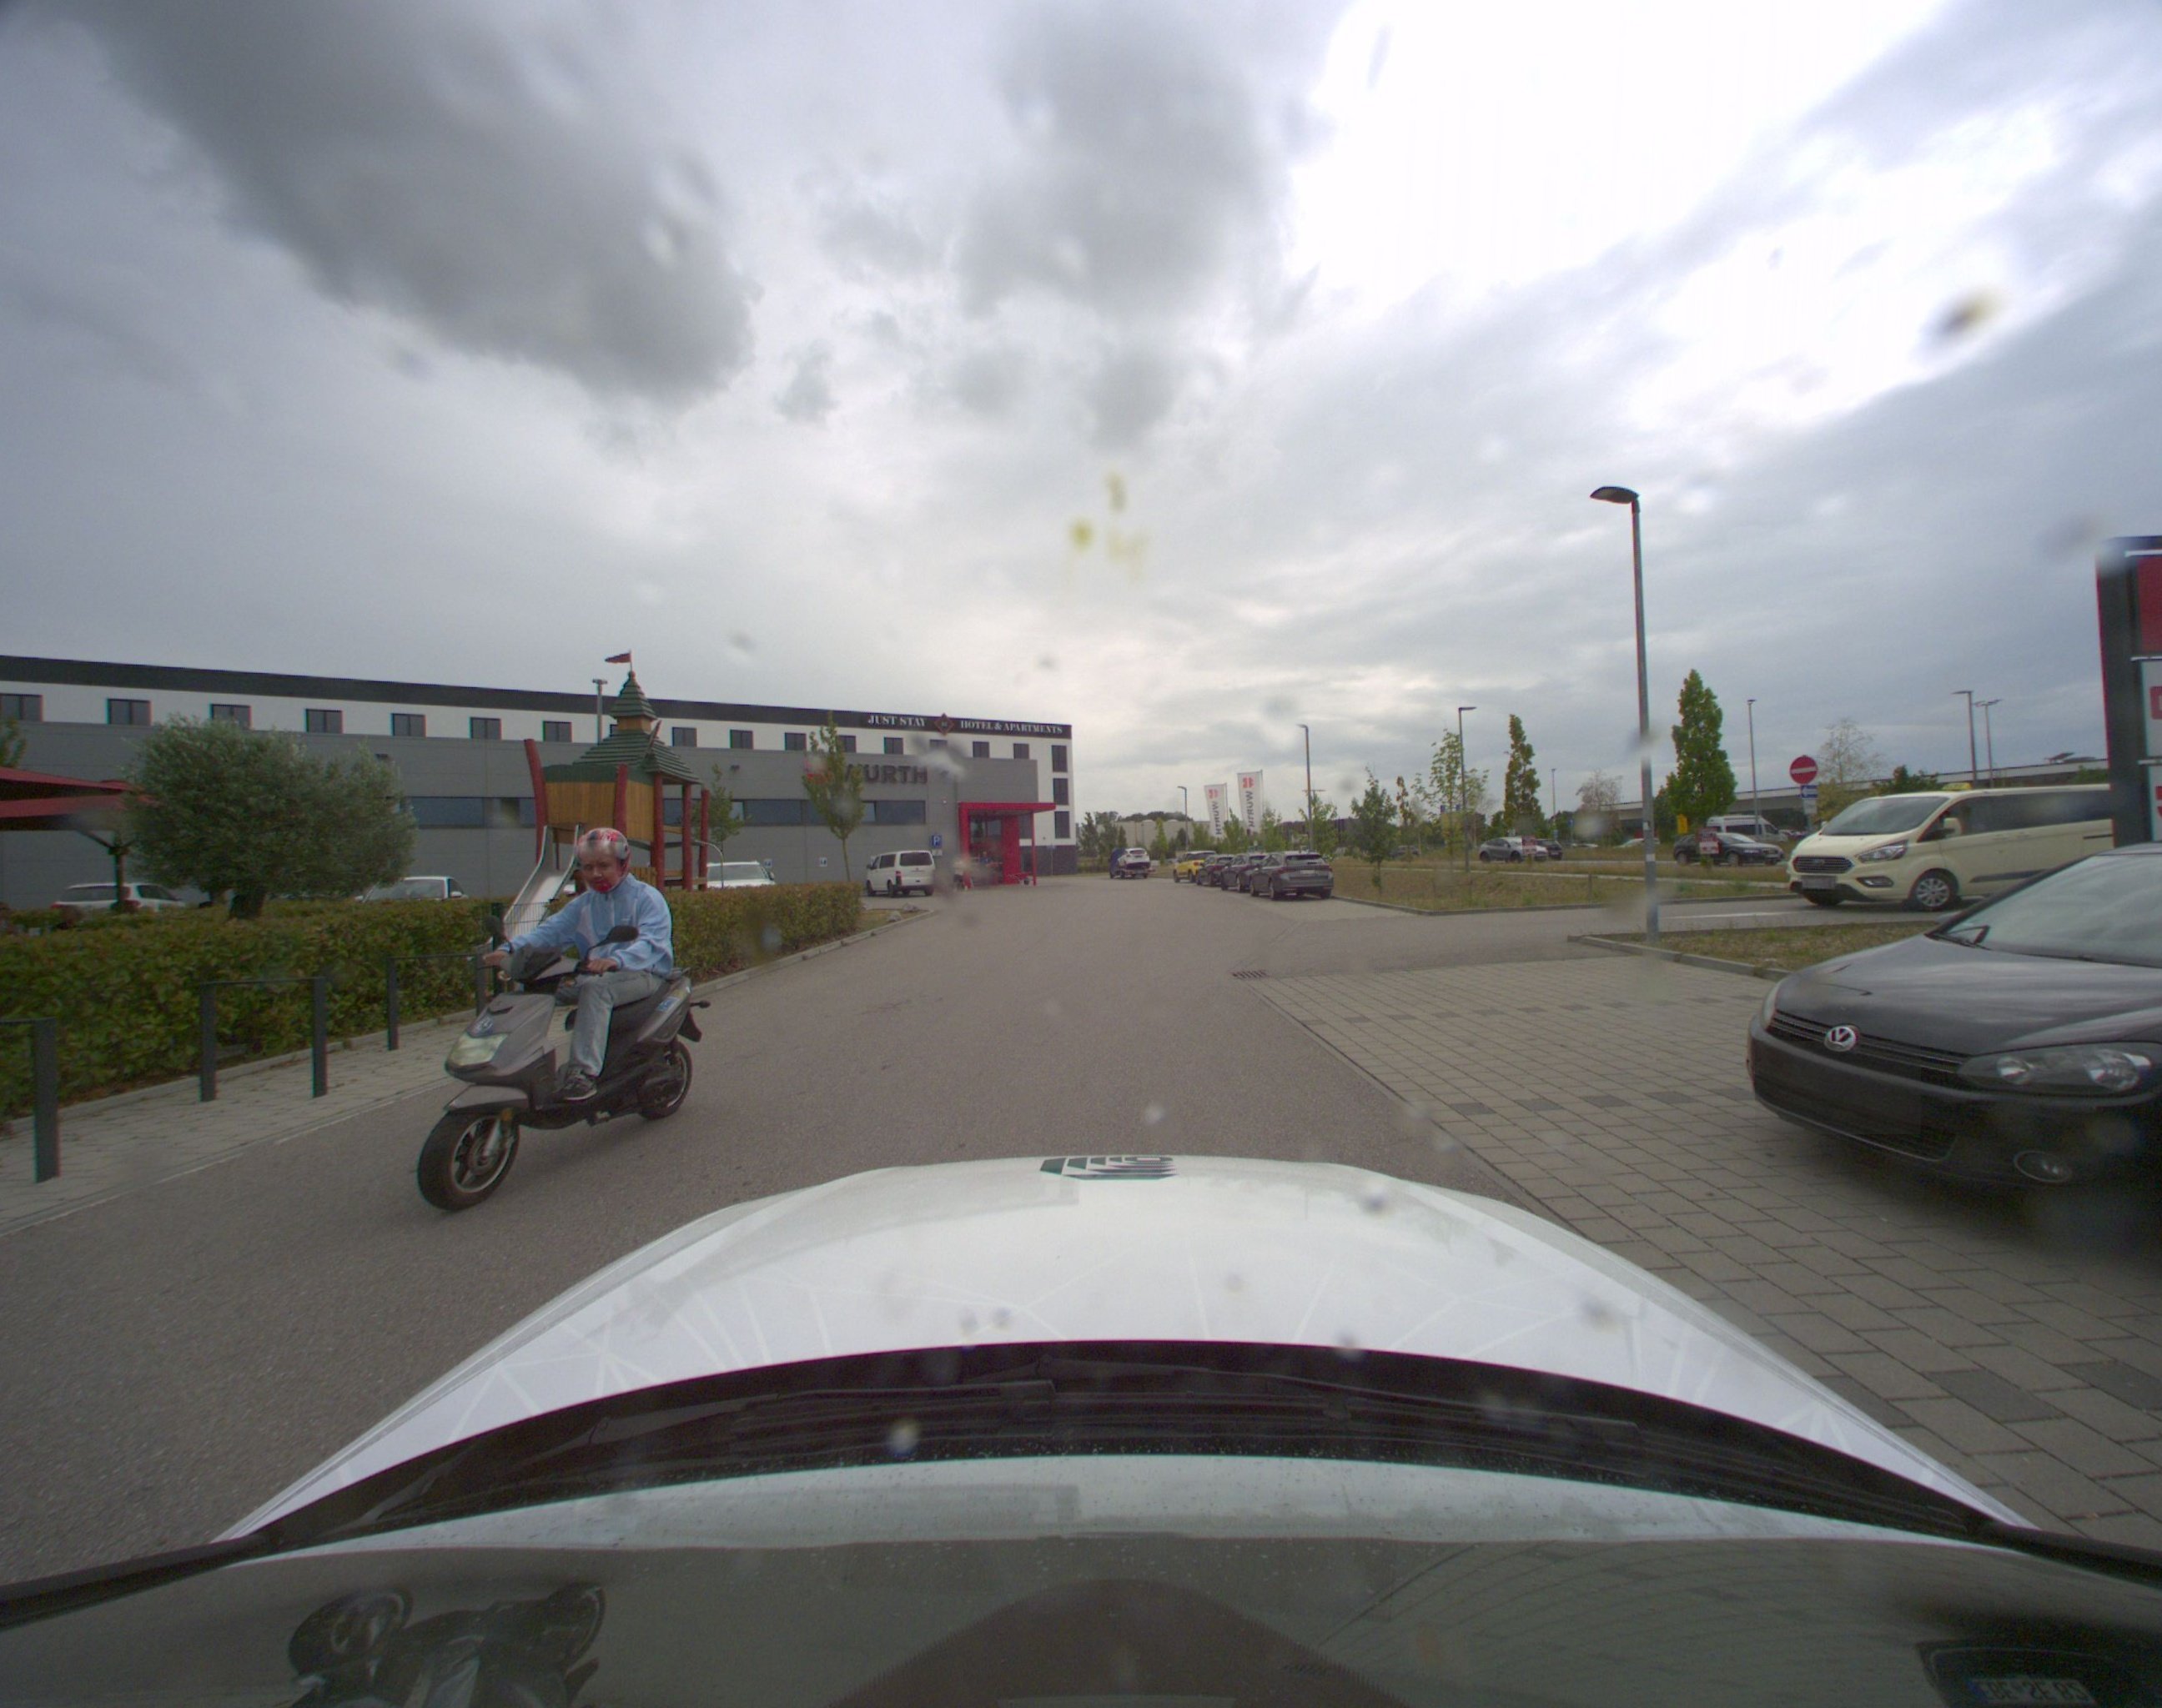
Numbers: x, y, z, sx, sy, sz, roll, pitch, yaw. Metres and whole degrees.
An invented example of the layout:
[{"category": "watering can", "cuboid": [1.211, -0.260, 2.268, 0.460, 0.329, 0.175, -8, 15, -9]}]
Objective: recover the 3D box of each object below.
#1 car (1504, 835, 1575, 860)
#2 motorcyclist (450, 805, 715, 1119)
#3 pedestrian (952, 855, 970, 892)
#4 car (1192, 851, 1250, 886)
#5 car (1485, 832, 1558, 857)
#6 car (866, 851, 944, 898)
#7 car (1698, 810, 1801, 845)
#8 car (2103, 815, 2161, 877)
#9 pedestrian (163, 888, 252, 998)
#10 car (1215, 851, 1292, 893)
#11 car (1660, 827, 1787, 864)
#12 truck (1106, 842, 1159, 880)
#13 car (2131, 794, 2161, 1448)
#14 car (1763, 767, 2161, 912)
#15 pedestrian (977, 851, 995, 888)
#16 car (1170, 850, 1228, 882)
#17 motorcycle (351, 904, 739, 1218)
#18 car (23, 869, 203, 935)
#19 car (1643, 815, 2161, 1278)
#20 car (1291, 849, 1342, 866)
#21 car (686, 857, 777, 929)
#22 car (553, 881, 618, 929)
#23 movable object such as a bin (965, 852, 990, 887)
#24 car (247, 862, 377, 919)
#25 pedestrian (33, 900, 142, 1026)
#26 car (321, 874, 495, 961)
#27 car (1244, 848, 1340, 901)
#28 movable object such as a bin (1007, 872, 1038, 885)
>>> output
[{"category": "car", "cuboid": [30.693, -0.381, 54.726, 1.921, 1.486, 4.412, -4, 0, -6]}, {"category": "motorcyclist", "cuboid": [-2.618, 0.525, 4.398, 0.825, 1.489, 0.941, -1, -1, 0]}, {"category": "pedestrian", "cuboid": [-5.777, 0.923, 39.262, 0.620, 1.751, 0.907, -2, -1, 6]}, {"category": "car", "cuboid": [6.423, 0.657, 37.746, 1.748, 1.469, 4.102, -2, 0, -3]}, {"category": "car", "cuboid": [26.955, -0.527, 50.046, 1.759, 1.395, 4.551, -2, 0, -4]}, {"category": "car", "cuboid": [-7.849, 0.916, 36.045, 2.069, 1.855, 4.020, -4, 0, -32]}, {"category": "car", "cuboid": [48.709, -1.874, 59.423, 5.560, 2.122, 2.340, -4, 0, 0]}, {"category": "car", "cuboid": [27.160, -0.232, 18.913, 1.817, 1.459, 4.001, -4, 0, 1]}, {"category": "pedestrian", "cuboid": [-14.780, 1.471, 13.803, 0.744, 1.748, 0.698, -3, -1, -24]}, {"category": "car", "cuboid": [6.551, 0.669, 31.393, 1.748, 1.469, 4.470, -2, 0, -4]}, {"category": "car", "cuboid": [26.627, -0.307, 33.952, 1.759, 1.395, 4.212, -2, 0, -4]}, {"category": "truck", "cuboid": [3.685, 0.620, 60.636, 2.330, 2.407, 7.871, -1, -3, -8]}, {"category": "car", "cuboid": [4.612, 0.564, 1.011, 4.188, 1.544, 1.864, -2, 0, 0]}, {"category": "car", "cuboid": [15.075, -0.250, 13.928, 5.199, 2.086, 1.999, -2, 0, -2]}, {"category": "pedestrian", "cuboid": [-4.694, 0.767, 40.297, 0.673, 1.802, 0.882, -2, -1, 7]}, {"category": "car", "cuboid": [6.327, 0.651, 44.203, 1.858, 1.650, 3.984, -1, -1, -12]}, {"category": "motorcycle", "cuboid": [-2.668, 0.929, 4.397, 0.789, 1.208, 1.921, -1, -1, 1]}, {"category": "car", "cuboid": [-28.628, 1.391, 24.331, 2.007, 1.638, 4.756, -3, 0, -32]}, {"category": "car", "cuboid": [5.115, 0.560, 3.578, 4.048, 1.459, 1.776, -3, 0, 0]}, {"category": "car", "cuboid": [20.878, 0.343, 72.456, 1.772, 1.395, 4.520, -2, 0, -25]}, {"category": "car", "cuboid": [-9.629, 1.023, 22.305, 2.004, 1.650, 4.539, -3, 0, -25]}, {"category": "car", "cuboid": [-18.673, 1.876, 30.845, 1.747, 1.552, 4.225, -3, -1, -28]}, {"category": "movable object such as a bin", "cuboid": [-5.264, 0.774, 41.398, 0.916, 1.672, 0.736, -5, 1, -29]}, {"category": "car", "cuboid": [-24.999, 1.171, 26.687, 2.006, 1.638, 4.758, -2, -1, -30]}, {"category": "pedestrian", "cuboid": [-14.919, 1.607, 12.254, 0.744, 1.748, 0.698, -3, -1, -24]}, {"category": "car", "cuboid": [-15.432, 1.372, 19.001, 2.004, 1.650, 4.539, -3, 0, -25]}, {"category": "car", "cuboid": [6.520, 0.601, 25.670, 1.746, 1.469, 4.474, -2, 0, -1]}, {"category": "movable object such as a bin", "cuboid": [-3.258, 1.345, 45.150, 1.495, 0.704, 0.957, -1, -1, -24]}]
